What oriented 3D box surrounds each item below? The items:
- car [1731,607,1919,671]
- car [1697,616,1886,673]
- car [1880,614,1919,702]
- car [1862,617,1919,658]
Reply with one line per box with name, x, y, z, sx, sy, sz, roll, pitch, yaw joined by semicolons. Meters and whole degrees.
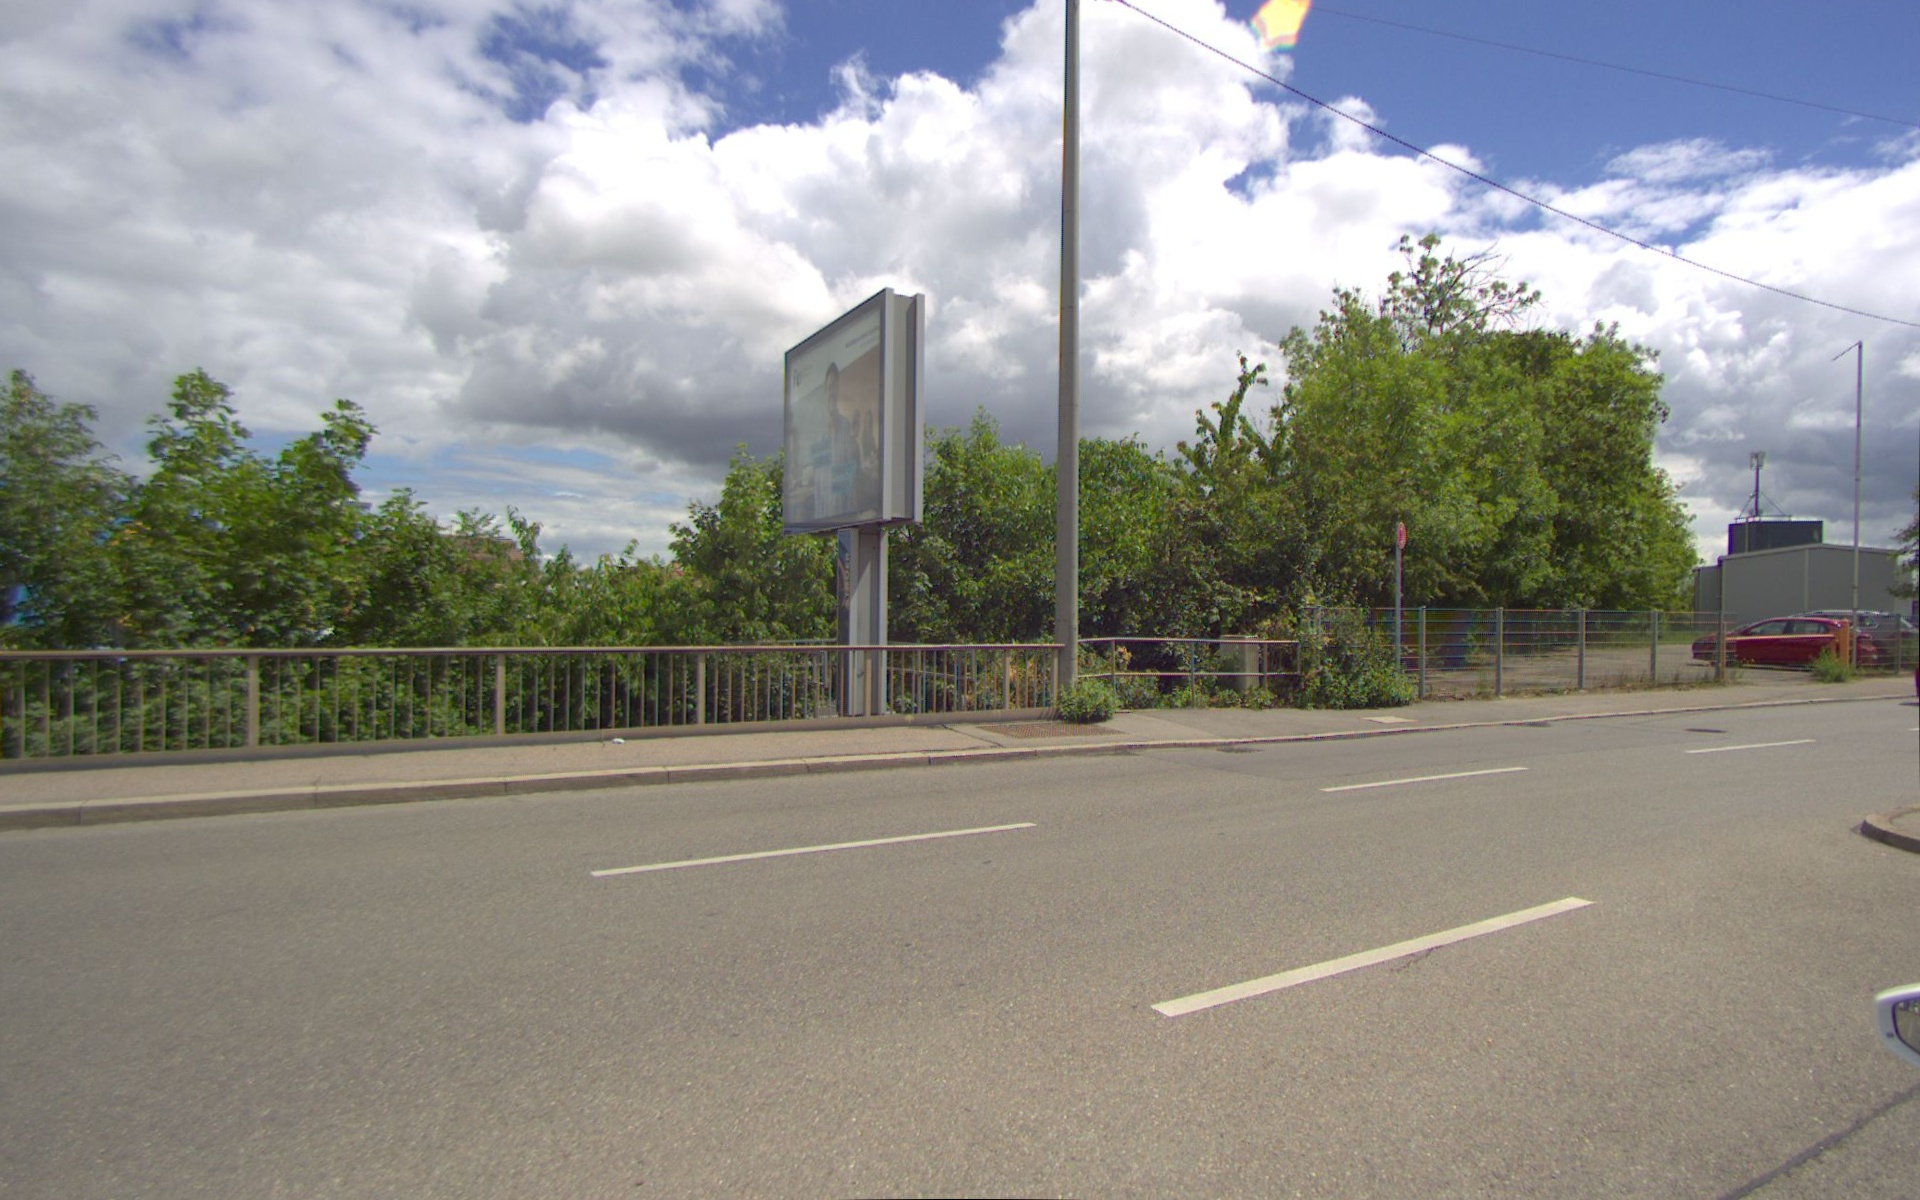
car;25.574;1.098;29.676;1.980;1.757;4.076;1;-1;-34
car;23.259;1.195;28.192;1.886;1.438;3.821;1;-1;-39
car;19.624;1.083;19.169;4.104;1.620;1.922;1;-2;-30
car;35.221;1.345;35.708;2.000;1.438;4.292;1;-1;-29
